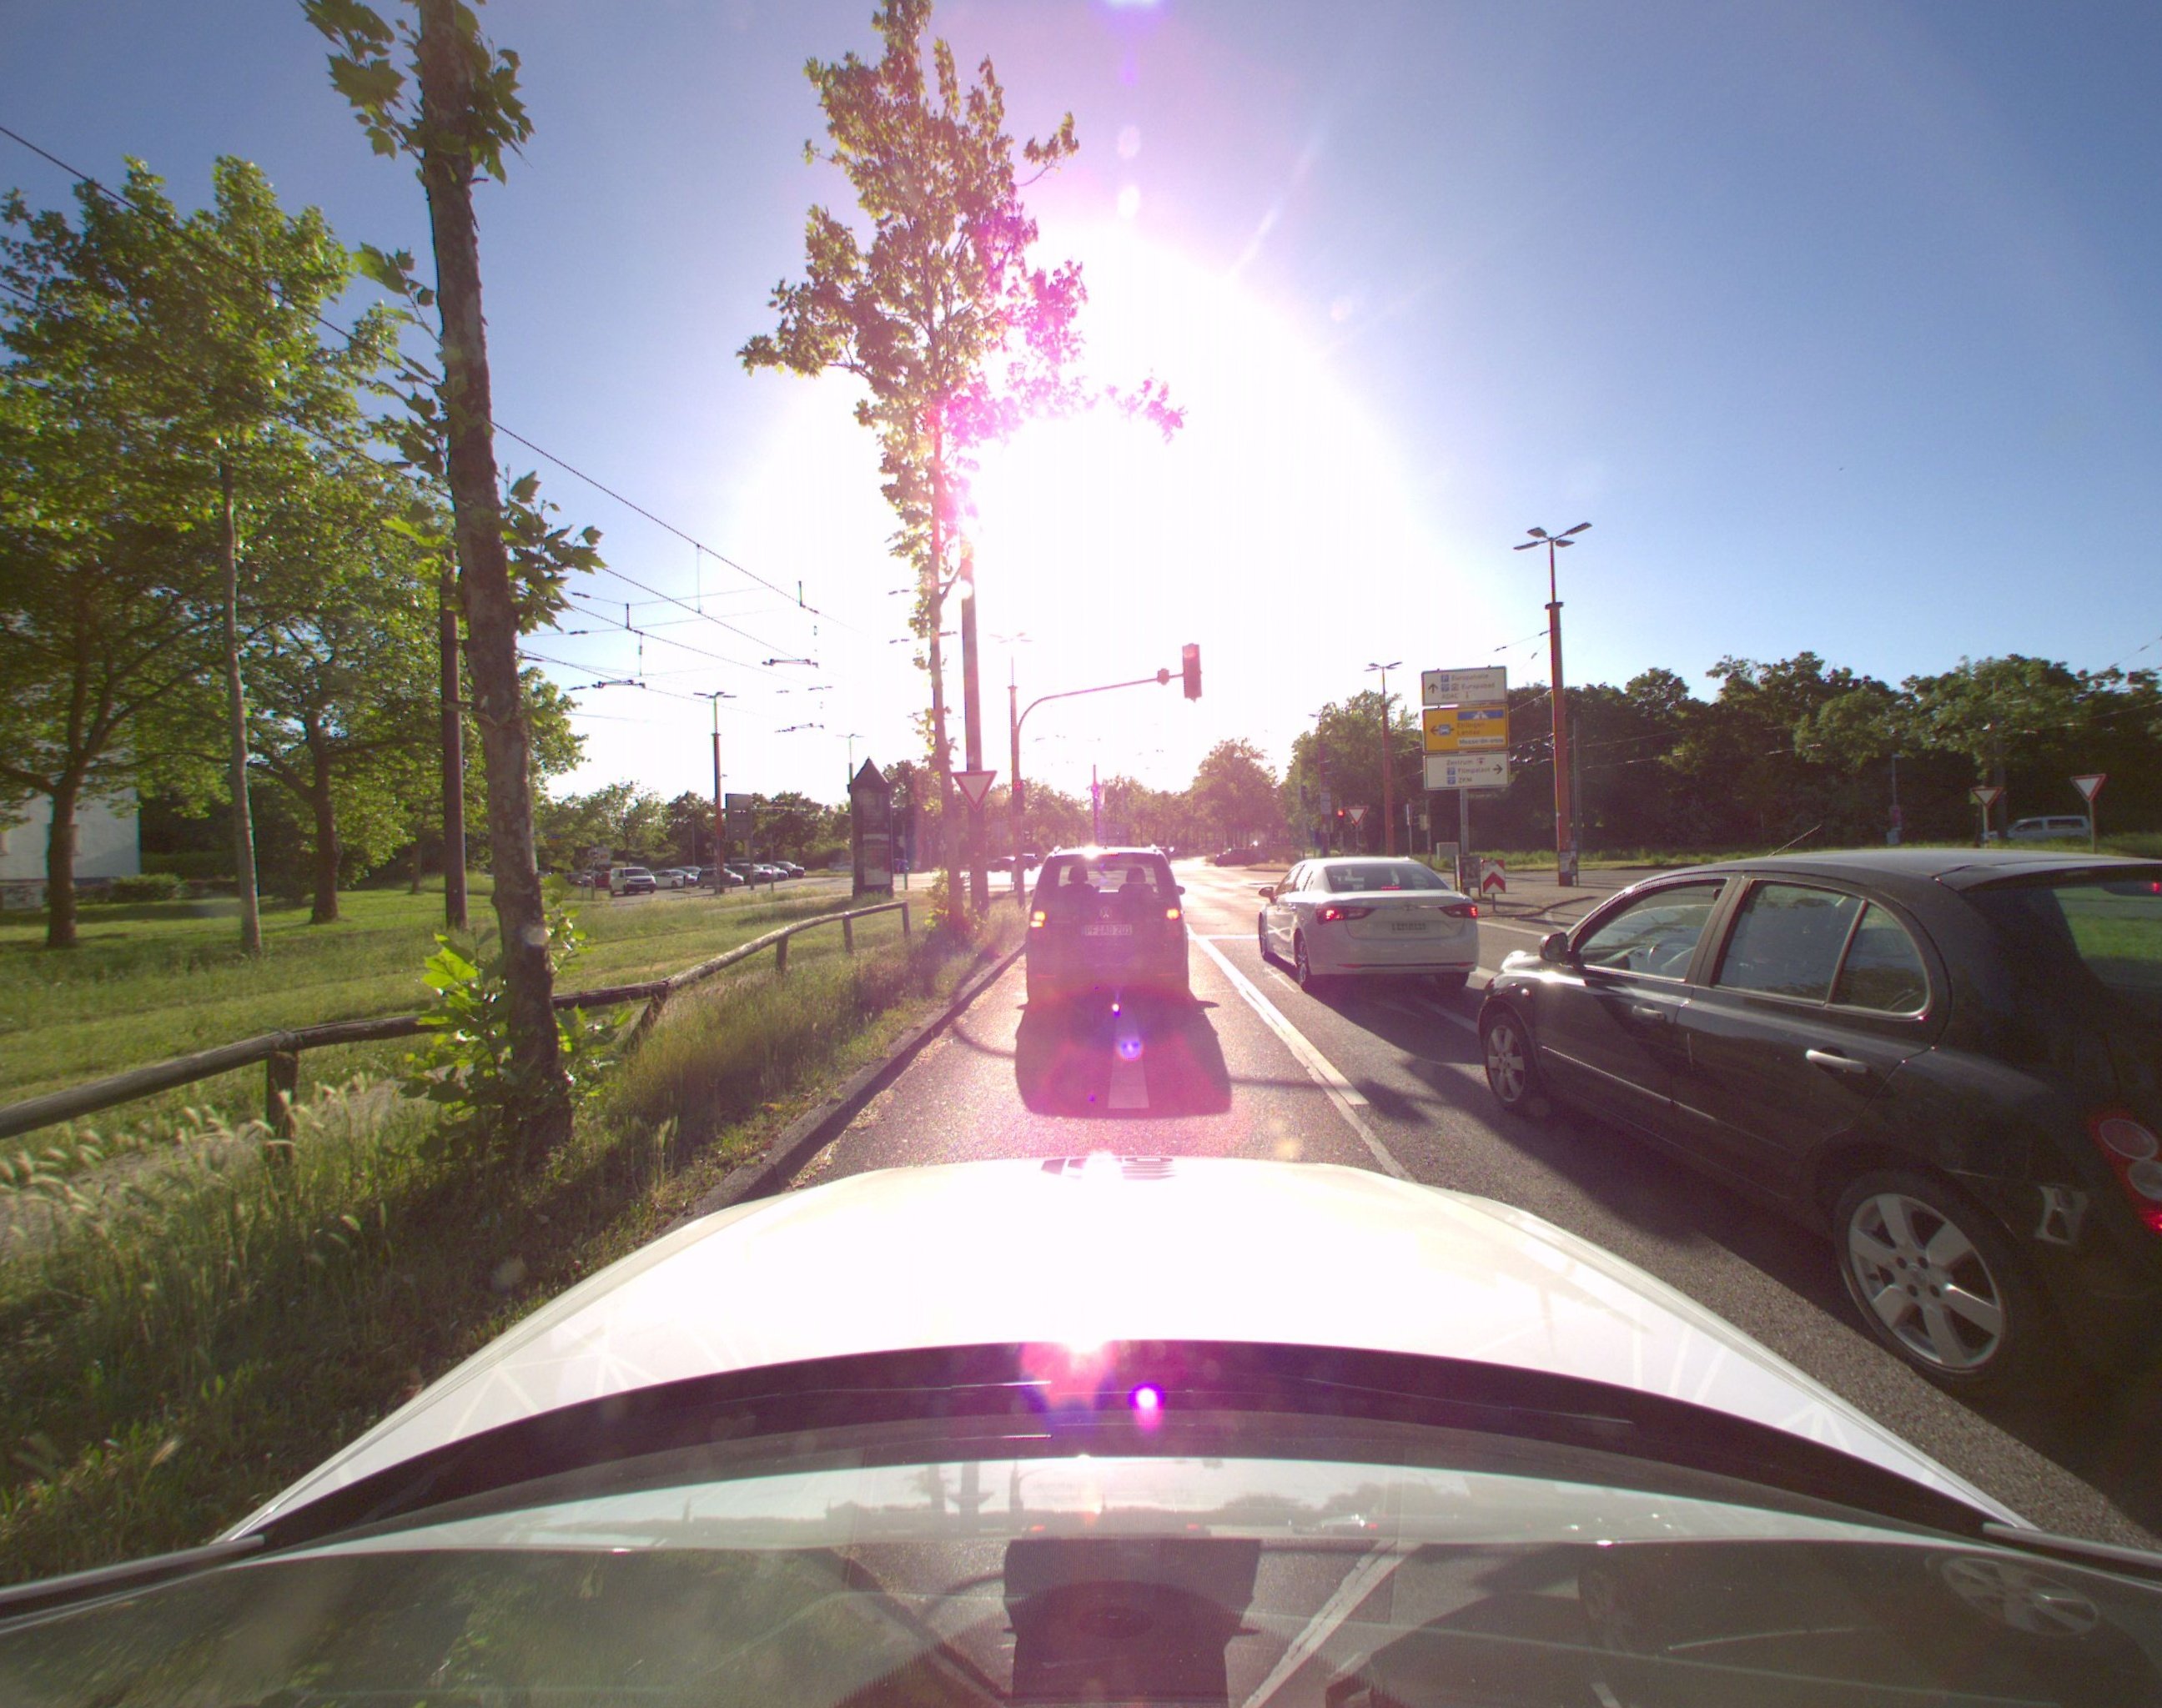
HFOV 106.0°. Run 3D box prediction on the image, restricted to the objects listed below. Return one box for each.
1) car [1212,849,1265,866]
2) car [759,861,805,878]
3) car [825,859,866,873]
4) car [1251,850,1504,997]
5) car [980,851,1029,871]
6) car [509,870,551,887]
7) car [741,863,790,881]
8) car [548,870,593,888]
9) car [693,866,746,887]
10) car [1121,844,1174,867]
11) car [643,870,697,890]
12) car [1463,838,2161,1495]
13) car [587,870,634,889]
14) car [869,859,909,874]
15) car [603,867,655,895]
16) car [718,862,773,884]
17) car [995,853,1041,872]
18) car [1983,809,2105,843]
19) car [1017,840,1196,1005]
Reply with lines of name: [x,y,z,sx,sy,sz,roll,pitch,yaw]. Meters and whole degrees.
car: [13.359,0.283,69.050,4.080,1.403,1.666,-1,0,27]
car: [-26.737,1.382,72.814,4.102,1.415,1.553,-1,0,28]
car: [-24.403,1.238,84.331,4.079,1.403,1.667,-1,0,29]
car: [3.369,0.706,10.193,1.792,1.440,4.329,0,-1,3]
car: [-7.043,0.646,75.207,4.081,1.791,1.809,-1,0,26]
car: [-51.133,2.261,75.523,4.145,1.520,1.667,-1,0,32]
car: [-26.840,1.524,69.190,4.102,1.415,1.553,-1,0,28]
car: [-45.086,2.222,71.903,4.145,1.520,1.667,-1,0,32]
car: [-27.337,1.695,61.571,3.793,1.441,1.667,-1,0,29]
car: [5.625,0.134,68.834,4.081,1.791,1.809,-1,0,26]
car: [-32.671,2.074,64.735,4.577,1.520,1.667,-1,0,32]
car: [3.176,0.692,3.494,1.570,1.440,3.443,0,-1,2]
car: [-39.449,2.150,68.253,4.145,1.520,1.667,-1,0,32]
car: [-20.401,1.358,86.509,4.080,1.471,1.667,-1,0,27]
car: [-31.654,1.876,56.997,4.841,1.821,1.844,-1,0,44]
car: [-26.933,1.517,65.353,4.583,1.647,1.667,-1,0,32]
car: [-6.146,0.836,79.547,4.080,1.791,1.810,-1,0,28]
car: [53.913,-1.513,45.720,4.079,1.750,1.667,-1,0,31]
car: [0.362,0.687,10.088,1.731,1.602,4.329,0,-1,3]
